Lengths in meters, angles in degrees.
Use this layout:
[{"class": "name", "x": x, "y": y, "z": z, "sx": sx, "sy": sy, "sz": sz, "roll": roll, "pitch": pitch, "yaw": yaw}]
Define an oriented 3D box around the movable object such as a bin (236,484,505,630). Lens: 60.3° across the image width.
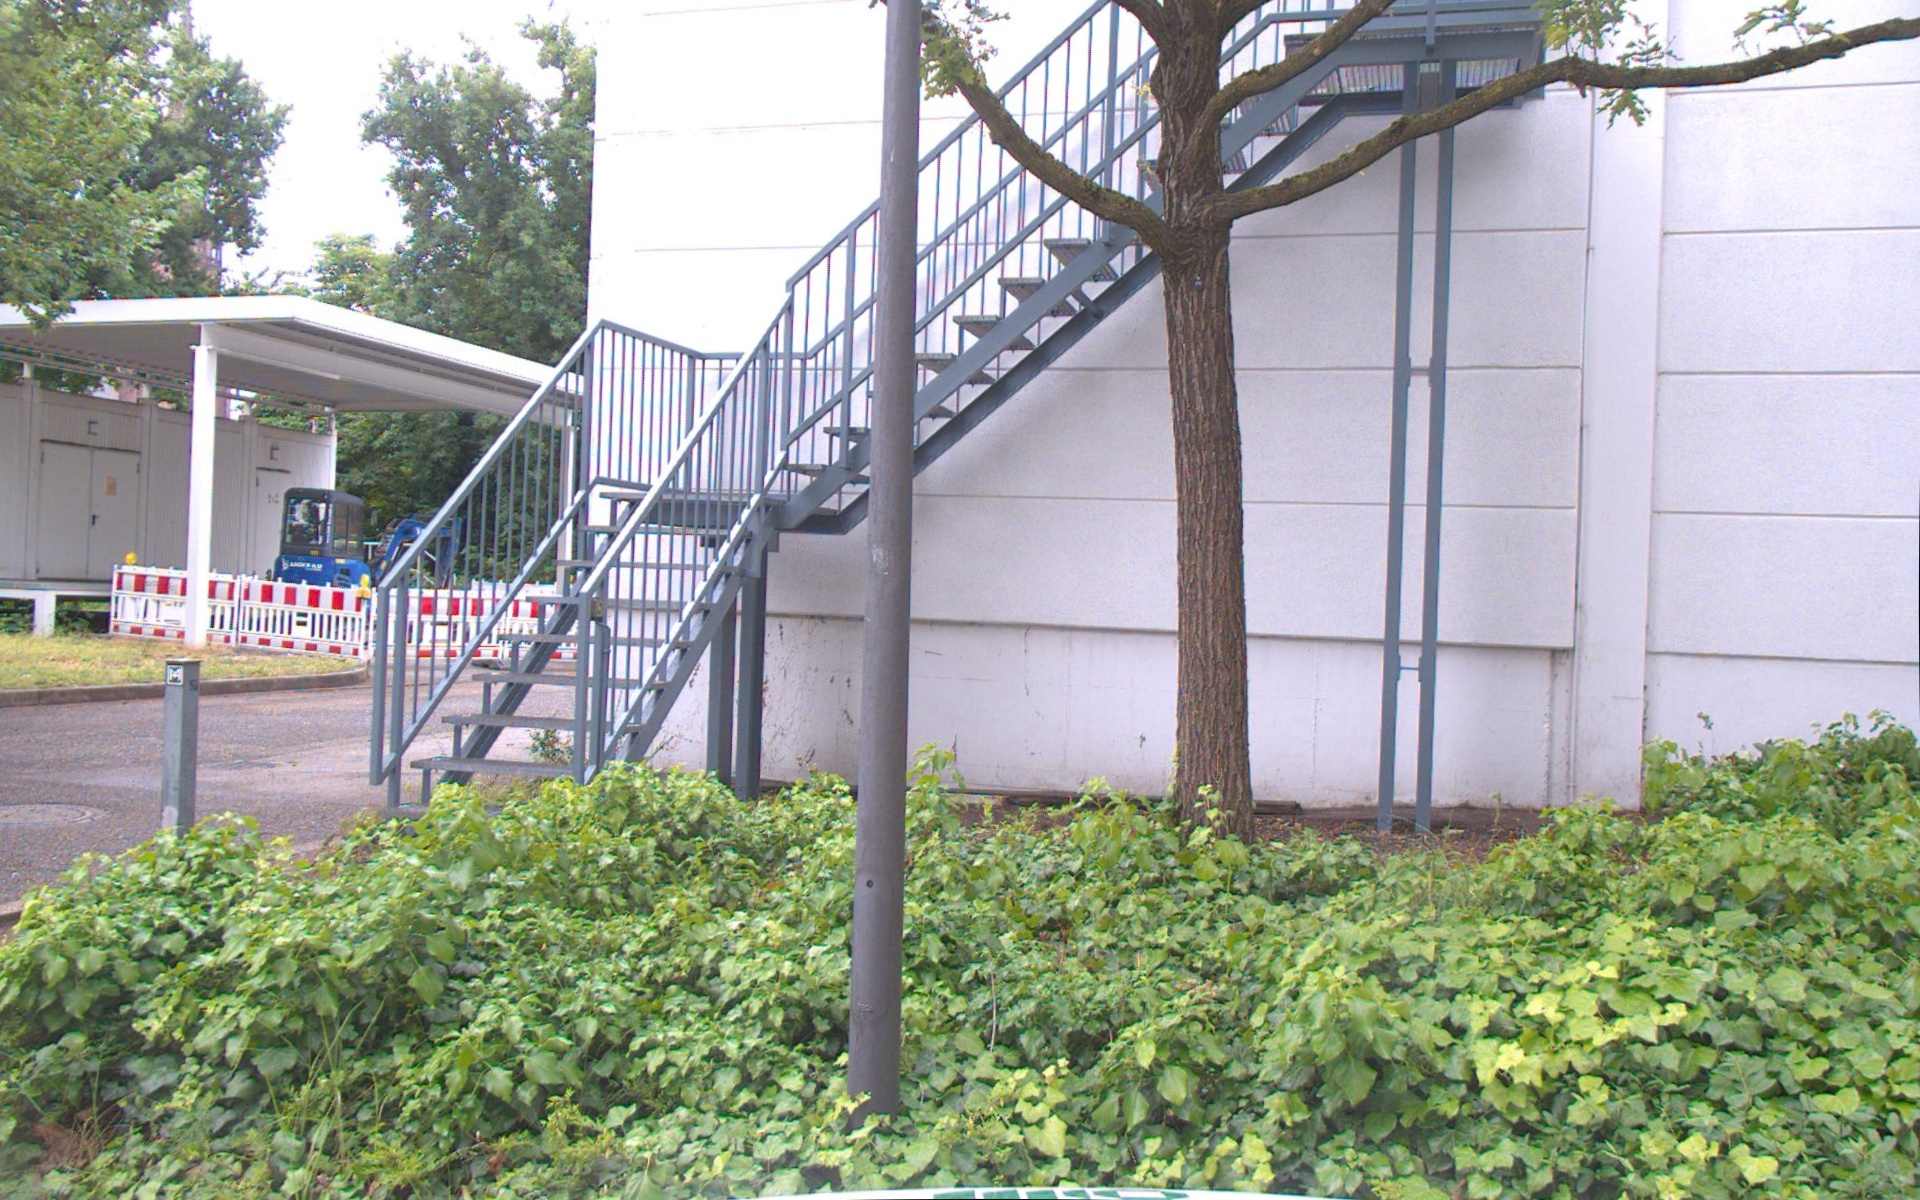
[{"class": "movable object such as a bin", "x": -9.704, "y": -0.639, "z": 27.698, "sx": 1.951, "sy": 2.209, "sz": 4.674, "roll": 2, "pitch": -1, "yaw": 14}]
